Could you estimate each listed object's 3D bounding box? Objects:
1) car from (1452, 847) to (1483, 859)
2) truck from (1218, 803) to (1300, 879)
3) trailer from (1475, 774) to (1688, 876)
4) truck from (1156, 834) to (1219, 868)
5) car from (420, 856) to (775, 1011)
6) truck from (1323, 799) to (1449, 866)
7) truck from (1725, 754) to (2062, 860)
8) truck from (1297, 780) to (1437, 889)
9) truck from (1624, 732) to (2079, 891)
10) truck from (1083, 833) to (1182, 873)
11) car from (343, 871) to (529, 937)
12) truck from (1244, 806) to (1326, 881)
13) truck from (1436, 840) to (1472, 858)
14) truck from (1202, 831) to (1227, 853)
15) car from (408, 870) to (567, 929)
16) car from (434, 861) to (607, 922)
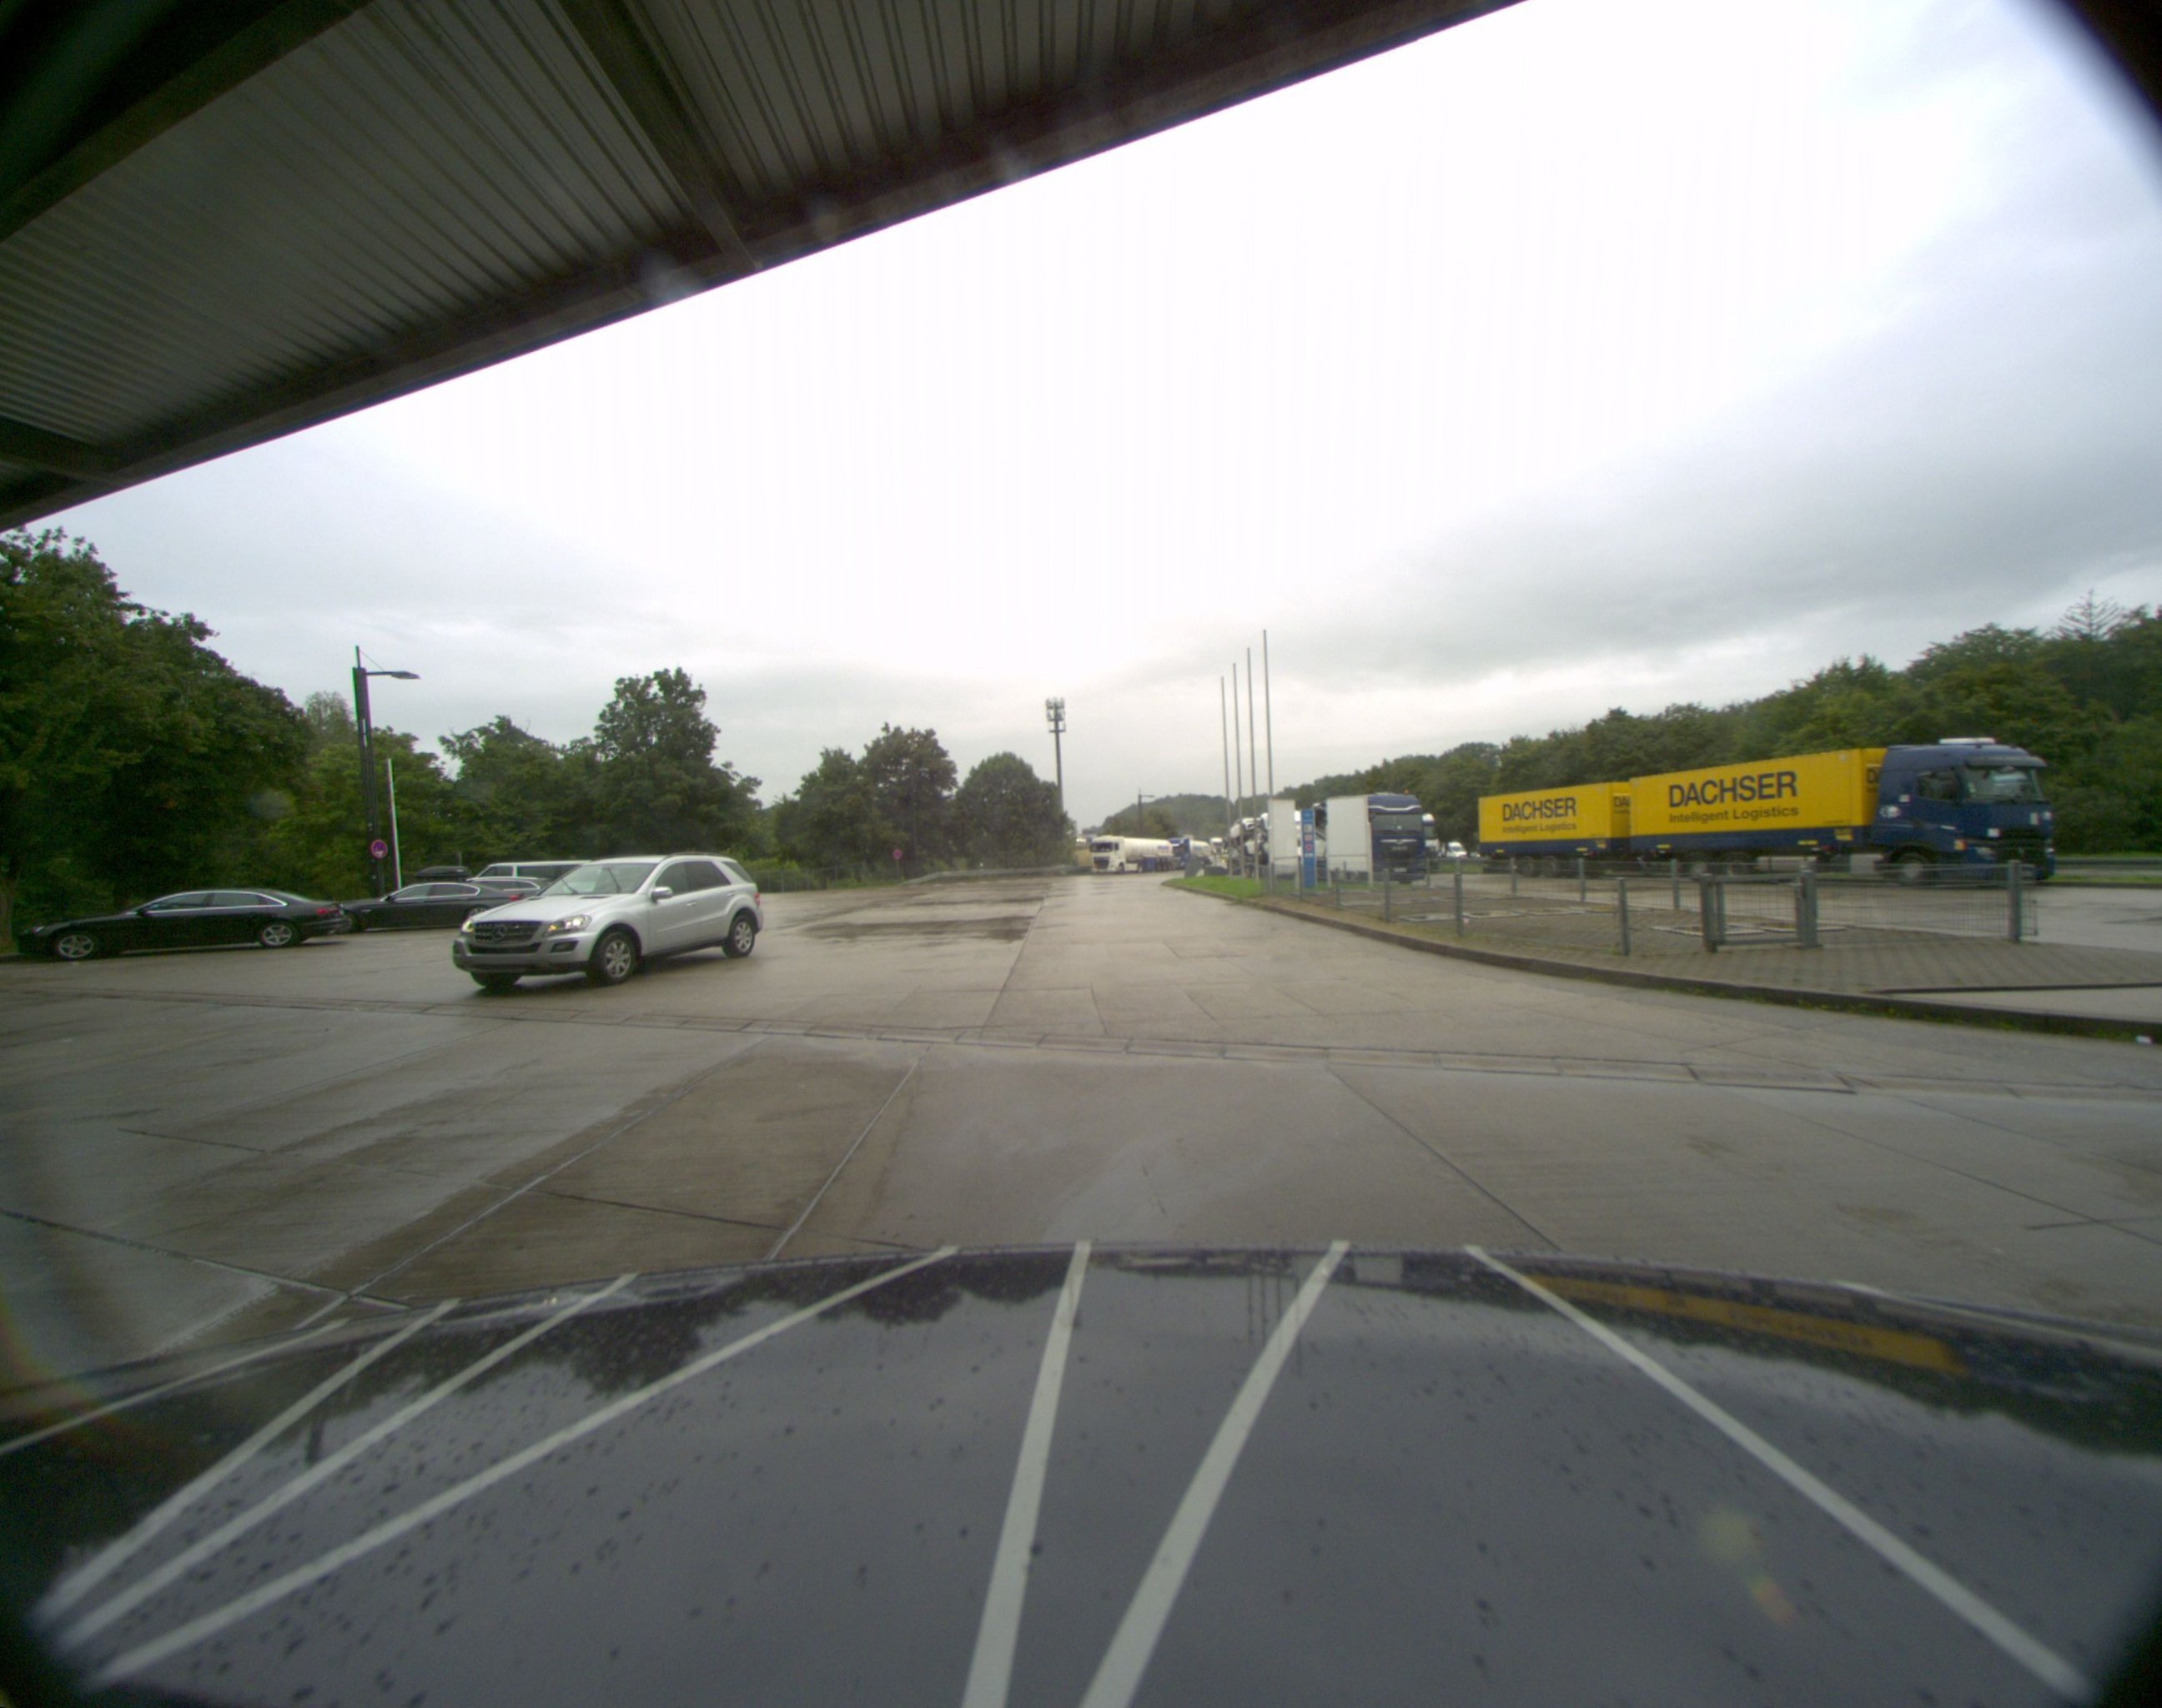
[{"bbox_3d":[55.074,-0.131,108.309,1.704,1.684,3.995,-2,1,-13],"label":"car"},{"bbox_3d":[10.565,-0.719,45.772,2.665,4.157,6.618,-2,1,-6],"label":"truck"},{"bbox_3d":[21.787,-1.176,33.941,2.757,3.894,8.700,-2,1,-9],"label":"trailer"},{"bbox_3d":[12.774,-0.395,89.683,3.506,3.584,14.685,-2,0,23],"label":"truck"},{"bbox_3d":[-6.734,0.975,11.361,1.865,1.788,4.542,-2,0,9],"label":"car"},{"bbox_3d":[19.877,-1.291,50.562,2.757,3.894,10.678,-2,1,-8],"label":"truck"},{"bbox_3d":[33.906,-1.752,32.707,2.421,3.785,10.223,-2,1,-10],"label":"truck"},{"bbox_3d":[12.179,-0.789,33.173,2.665,4.157,7.103,-2,0,-6],"label":"truck"},{"bbox_3d":[23.149,-1.120,24.320,2.757,3.894,10.678,-2,1,-8],"label":"truck"},{"bbox_3d":[5.447,-0.153,75.201,3.505,3.584,14.426,-2,0,31],"label":"truck"},{"bbox_3d":[-18.880,1.401,22.499,4.007,1.650,1.596,-2,0,-35],"label":"car"},{"bbox_3d":[11.041,-0.551,41.581,2.665,3.750,4.747,-2,1,-6],"label":"truck"},{"bbox_3d":[48.759,-0.624,99.469,1.730,2.252,4.633,-2,1,-10],"label":"truck"},{"bbox_3d":[32.571,-2.822,186.299,3.145,5.092,11.515,-2,1,-5],"label":"truck"},{"bbox_3d":[-19.476,1.433,25.151,4.007,1.650,1.596,-2,0,-35],"label":"car"},{"bbox_3d":[-20.432,1.295,27.987,4.898,1.938,2.310,-2,0,-35],"label":"car"}]
